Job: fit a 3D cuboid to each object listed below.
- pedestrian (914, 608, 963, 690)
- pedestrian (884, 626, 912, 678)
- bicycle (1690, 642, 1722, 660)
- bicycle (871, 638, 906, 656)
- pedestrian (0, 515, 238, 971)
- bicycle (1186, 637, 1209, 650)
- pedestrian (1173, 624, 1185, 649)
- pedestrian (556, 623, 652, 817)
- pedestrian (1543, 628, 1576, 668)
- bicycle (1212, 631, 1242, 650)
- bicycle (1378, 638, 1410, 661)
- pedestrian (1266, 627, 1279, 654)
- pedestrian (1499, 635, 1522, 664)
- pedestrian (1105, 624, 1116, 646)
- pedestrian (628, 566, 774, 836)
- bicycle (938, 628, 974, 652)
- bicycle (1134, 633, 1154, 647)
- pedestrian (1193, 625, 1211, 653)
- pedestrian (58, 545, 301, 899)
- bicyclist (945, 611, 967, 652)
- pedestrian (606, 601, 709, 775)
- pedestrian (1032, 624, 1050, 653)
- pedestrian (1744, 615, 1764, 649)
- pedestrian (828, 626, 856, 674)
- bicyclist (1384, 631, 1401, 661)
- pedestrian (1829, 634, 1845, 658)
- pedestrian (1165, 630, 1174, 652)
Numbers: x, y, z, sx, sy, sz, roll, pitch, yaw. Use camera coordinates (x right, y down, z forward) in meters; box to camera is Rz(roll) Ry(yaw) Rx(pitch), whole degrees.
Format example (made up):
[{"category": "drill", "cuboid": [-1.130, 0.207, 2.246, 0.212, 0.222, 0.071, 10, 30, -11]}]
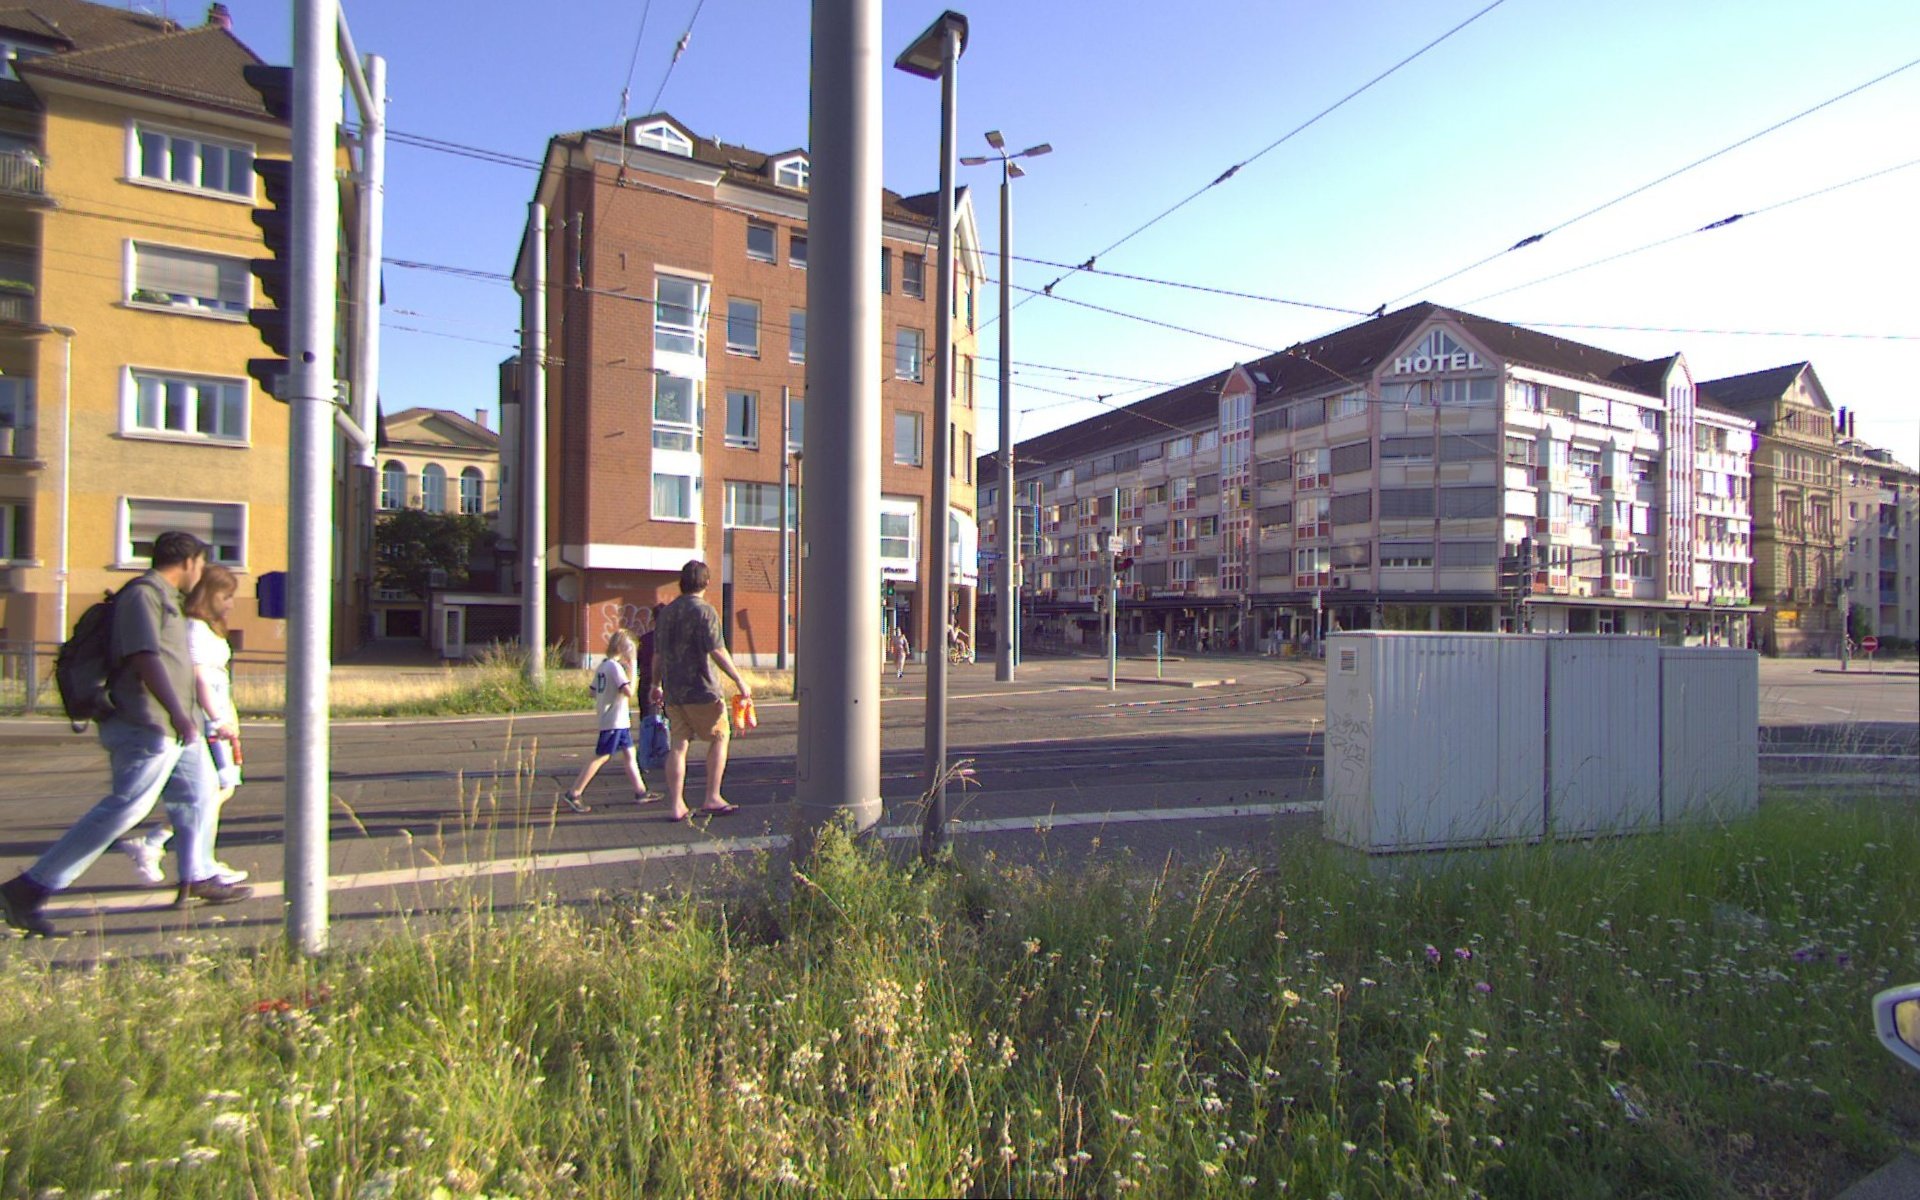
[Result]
[{"category": "pedestrian", "cuboid": [-0.490, 1.094, 22.699, 0.824, 1.781, 0.687, 2, 0, -44]}, {"category": "pedestrian", "cuboid": [-1.976, 1.639, 31.940, 0.825, 1.605, 0.683, 2, 0, -3]}, {"category": "bicycle", "cuboid": [48.485, 3.309, 65.273, 2.056, 1.085, 0.451, 2, 0, -13]}, {"category": "bicycle", "cuboid": [-3.918, 2.585, 55.020, 1.813, 0.974, 0.540, 1, 1, -27]}, {"category": "pedestrian", "cuboid": [-3.828, 0.570, 4.475, 0.889, 1.825, 0.782, 0, 1, -29]}, {"category": "bicycle", "cuboid": [17.085, 3.126, 72.270, 0.494, 0.929, 2.066, 2, -2, -24]}, {"category": "pedestrian", "cuboid": [16.662, 2.761, 76.423, 0.601, 1.877, 0.601, 2, 0, -20]}, {"category": "pedestrian", "cuboid": [-2.654, 0.876, 7.546, 0.598, 1.378, 0.595, 0, -3, -13]}, {"category": "pedestrian", "cuboid": [31.479, 2.488, 52.768, 0.847, 1.909, 1.187, -10, 7, -33]}, {"category": "bicycle", "cuboid": [18.453, 2.807, 69.586, 0.720, 1.243, 2.319, 2, -2, -24]}, {"category": "bicycle", "cuboid": [24.192, 2.769, 55.966, 1.746, 1.160, 0.636, -1, 1, -27]}, {"category": "pedestrian", "cuboid": [19.771, 2.550, 63.557, 0.612, 1.717, 0.866, 2, 0, 29]}, {"category": "pedestrian", "cuboid": [28.995, 2.613, 52.919, 0.847, 1.472, 0.700, 2, 0, -34]}, {"category": "pedestrian", "cuboid": [12.549, 2.896, 83.857, 0.804, 1.802, 0.680, 2, 0, 0]}, {"category": "pedestrian", "cuboid": [-1.856, 0.675, 7.129, 0.887, 1.781, 0.772, 2, 0, -21]}, {"category": "bicycle", "cuboid": [-0.153, 1.560, 39.243, 1.351, 0.929, 0.430, 2, 0, -34]}, {"category": "bicycle", "cuboid": [14.626, 3.191, 79.841, 1.630, 1.134, 0.480, 2, 0, -30]}, {"category": "pedestrian", "cuboid": [14.475, 2.327, 60.073, 0.773, 1.682, 0.677, 2, 0, -35]}, {"category": "pedestrian", "cuboid": [-4.040, 0.579, 5.286, 0.890, 1.662, 0.781, 2, 0, -32]}, {"category": "bicyclist", "cuboid": [-0.162, 1.235, 39.229, 0.722, 1.564, 0.430, 2, 0, -34]}, {"category": "pedestrian", "cuboid": [-2.949, 0.827, 9.791, 0.781, 1.609, 0.602, 2, 0, -35]}, {"category": "pedestrian", "cuboid": [4.771, 2.270, 59.232, 0.771, 1.682, 0.678, 2, 0, -28]}, {"category": "pedestrian", "cuboid": [57.793, 2.319, 73.105, 0.953, 2.430, 0.918, 2, 0, -40]}, {"category": "pedestrian", "cuboid": [-4.063, 1.699, 34.523, 0.828, 1.605, 0.681, 2, 0, -17]}, {"category": "bicyclist", "cuboid": [24.066, 2.542, 55.897, 0.649, 1.618, 0.636, -1, 1, -26]}, {"category": "pedestrian", "cuboid": [64.126, 3.392, 73.457, 0.715, 1.717, 0.692, 2, 0, -30]}, {"category": "pedestrian", "cuboid": [16.010, 3.146, 76.835, 0.598, 1.656, 0.604, 0, -5, 5]}]
